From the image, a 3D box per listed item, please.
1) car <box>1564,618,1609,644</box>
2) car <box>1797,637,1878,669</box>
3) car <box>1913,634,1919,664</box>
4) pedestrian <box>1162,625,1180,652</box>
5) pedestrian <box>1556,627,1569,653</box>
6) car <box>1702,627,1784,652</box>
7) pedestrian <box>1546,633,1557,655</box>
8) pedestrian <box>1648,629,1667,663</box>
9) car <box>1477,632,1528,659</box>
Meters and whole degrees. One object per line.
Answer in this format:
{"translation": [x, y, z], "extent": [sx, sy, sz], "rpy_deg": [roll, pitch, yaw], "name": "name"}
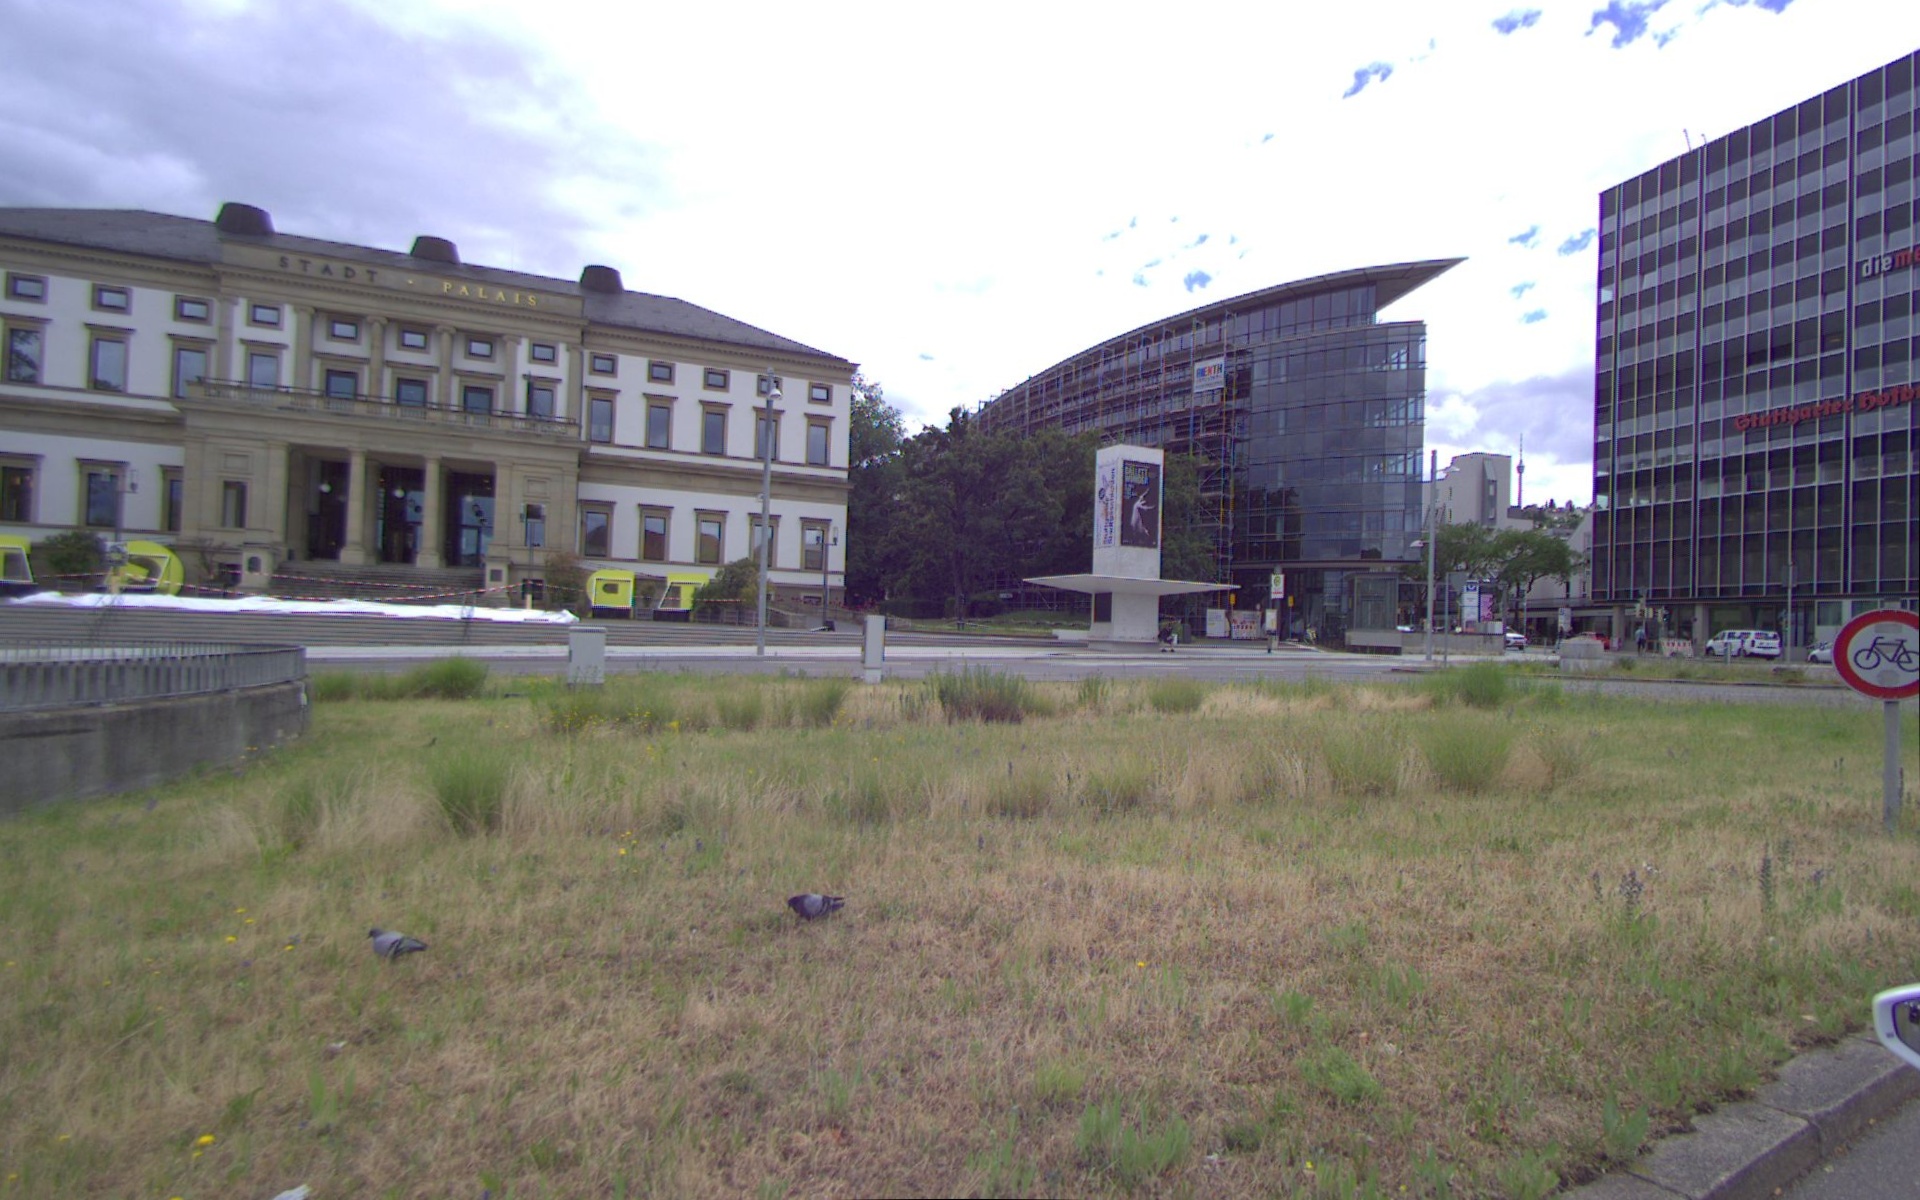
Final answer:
{"translation": [52.418, 2.549, 84.147], "extent": [1.959, 2.040, 4.002], "rpy_deg": [1, 0, 13], "name": "car"}
{"translation": [56.424, 3.361, 64.664], "extent": [1.862, 1.632, 4.001], "rpy_deg": [-3, 1, 5], "name": "car"}
{"translation": [49.482, 2.514, 49.849], "extent": [1.784, 1.516, 3.906], "rpy_deg": [1, 0, 20], "name": "car"}
{"translation": [8.805, 1.601, 41.932], "extent": [0.552, 1.095, 0.474], "rpy_deg": [1, 0, -22], "name": "pedestrian"}
{"translation": [38.801, 2.574, 64.710], "extent": [0.612, 1.614, 0.590], "rpy_deg": [2, 0, 27], "name": "pedestrian"}
{"translation": [53.729, 2.687, 69.078], "extent": [2.207, 1.522, 4.613], "rpy_deg": [1, 0, 3], "name": "car"}
{"translation": [38.342, 2.841, 65.145], "extent": [0.528, 1.414, 0.654], "rpy_deg": [2, 0, 27], "name": "pedestrian"}
{"translation": [49.219, 3.236, 70.912], "extent": [0.943, 2.393, 1.039], "rpy_deg": [1, 0, 28], "name": "pedestrian"}
{"translation": [38.884, 3.254, 72.089], "extent": [1.766, 1.817, 3.458], "rpy_deg": [1, -1, -1], "name": "car"}
